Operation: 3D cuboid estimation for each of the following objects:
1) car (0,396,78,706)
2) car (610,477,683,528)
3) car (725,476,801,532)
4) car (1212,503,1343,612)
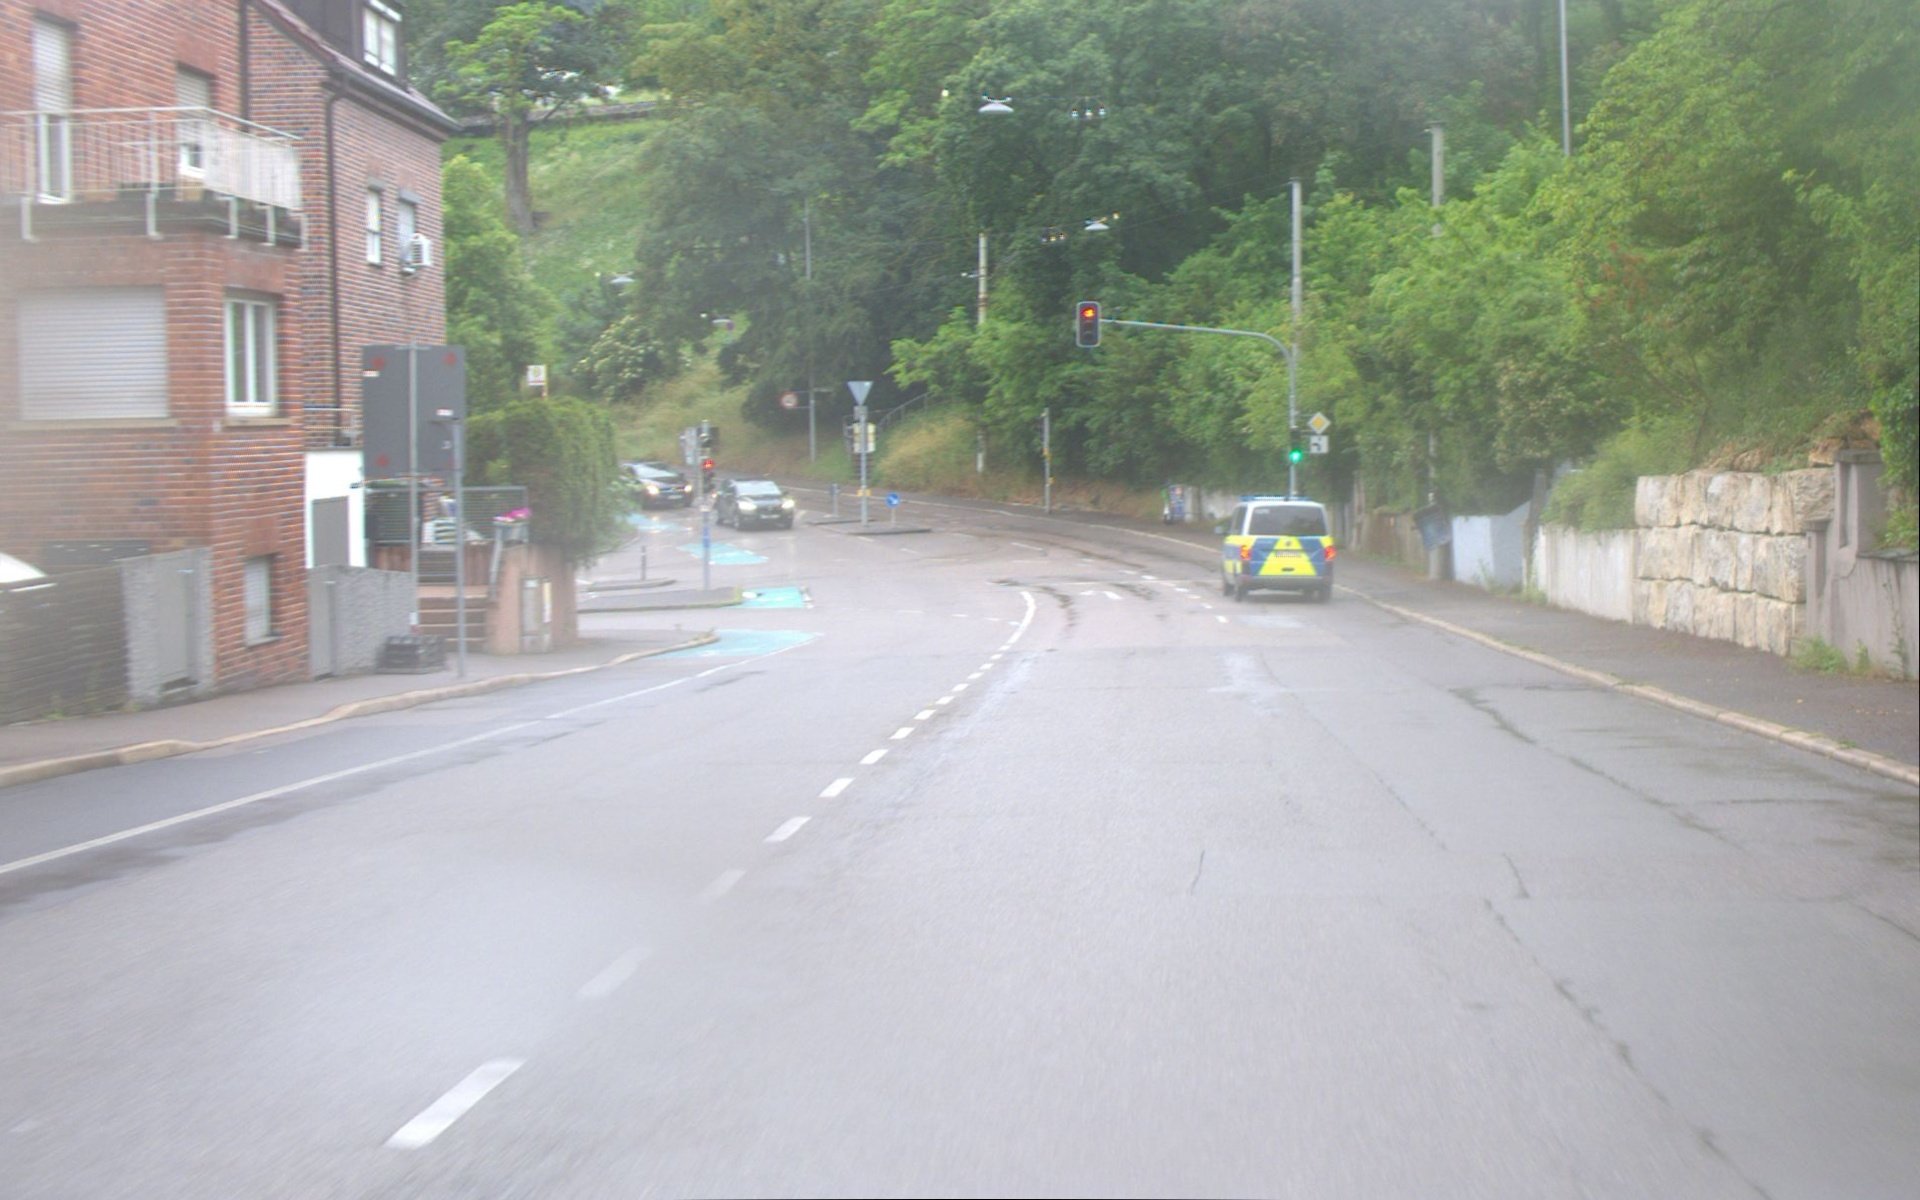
[{"bbox_3d":[-11.161,-0.413,29.373,6.655,2.545,2.167,0,-1,4],"label":"car"},{"bbox_3d":[-10.507,-3.288,115.124,1.741,1.544,4.002,-4,3,-14],"label":"car"},{"bbox_3d":[-6.127,-2.994,106.429,1.741,1.544,4.002,-4,4,-11],"label":"car"},{"bbox_3d":[6.154,-0.860,67.130,2.308,1.933,4.325,-2,2,3],"label":"car"}]
